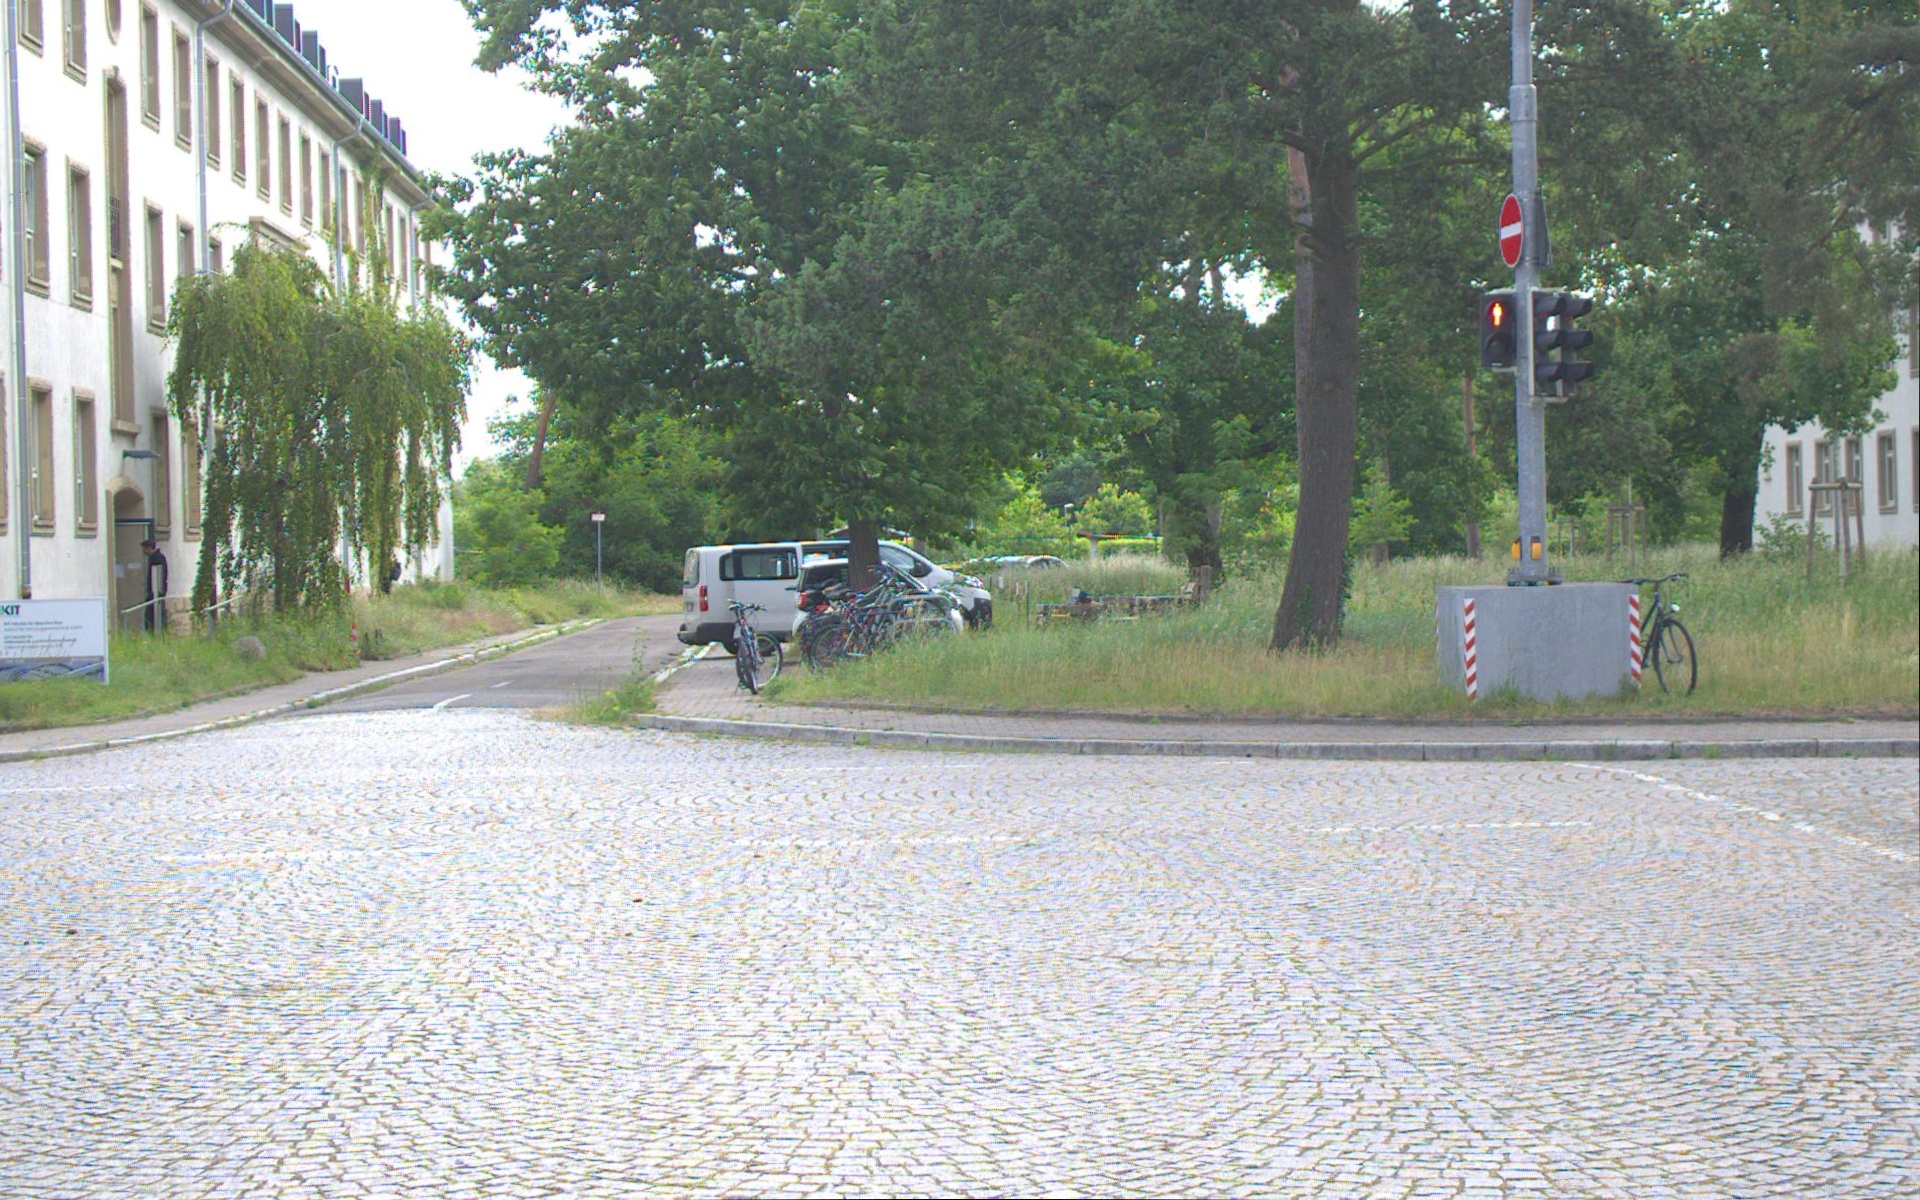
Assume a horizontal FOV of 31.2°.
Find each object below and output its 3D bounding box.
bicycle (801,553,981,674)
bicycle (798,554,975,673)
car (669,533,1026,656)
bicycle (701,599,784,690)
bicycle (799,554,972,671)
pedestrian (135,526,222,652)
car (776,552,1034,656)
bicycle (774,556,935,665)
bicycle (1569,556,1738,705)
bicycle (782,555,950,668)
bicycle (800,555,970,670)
[{"bbox_3d":[-0.813,0.158,40.571,2.069,1.373,0.620,-1,1,-1],"label":"bicycle"},{"bbox_3d":[-0.881,0.154,41.241,2.069,1.373,0.620,-1,1,-1],"label":"bicycle"},{"bbox_3d":[-1.932,-0.114,58.440,5.690,1.904,2.231,-1,1,-14],"label":"car"},{"bbox_3d":[-2.438,0.487,38.736,0.618,0.960,2.076,-1,1,5],"label":"bicycle"},{"bbox_3d":[-0.908,0.151,41.865,2.069,1.373,0.620,-1,1,-1],"label":"bicycle"},{"bbox_3d":[-12.679,-0.180,55.777,1.087,2.007,1.021,-1,1,3],"label":"pedestrian"},{"bbox_3d":[-0.913,0.052,55.095,3.931,1.539,2.000,-1,1,-6],"label":"car"},{"bbox_3d":[-1.376,0.132,44.935,2.069,1.373,0.620,-1,1,-1],"label":"bicycle"},{"bbox_3d":[5.719,0.232,28.459,0.908,1.173,1.874,-1,1,-3],"label":"bicycle"},{"bbox_3d":[-1.185,0.139,43.454,2.069,1.373,0.620,-1,1,-1],"label":"bicycle"},{"bbox_3d":[-0.929,0.147,42.662,2.069,1.373,0.620,-1,1,-1],"label":"bicycle"}]
